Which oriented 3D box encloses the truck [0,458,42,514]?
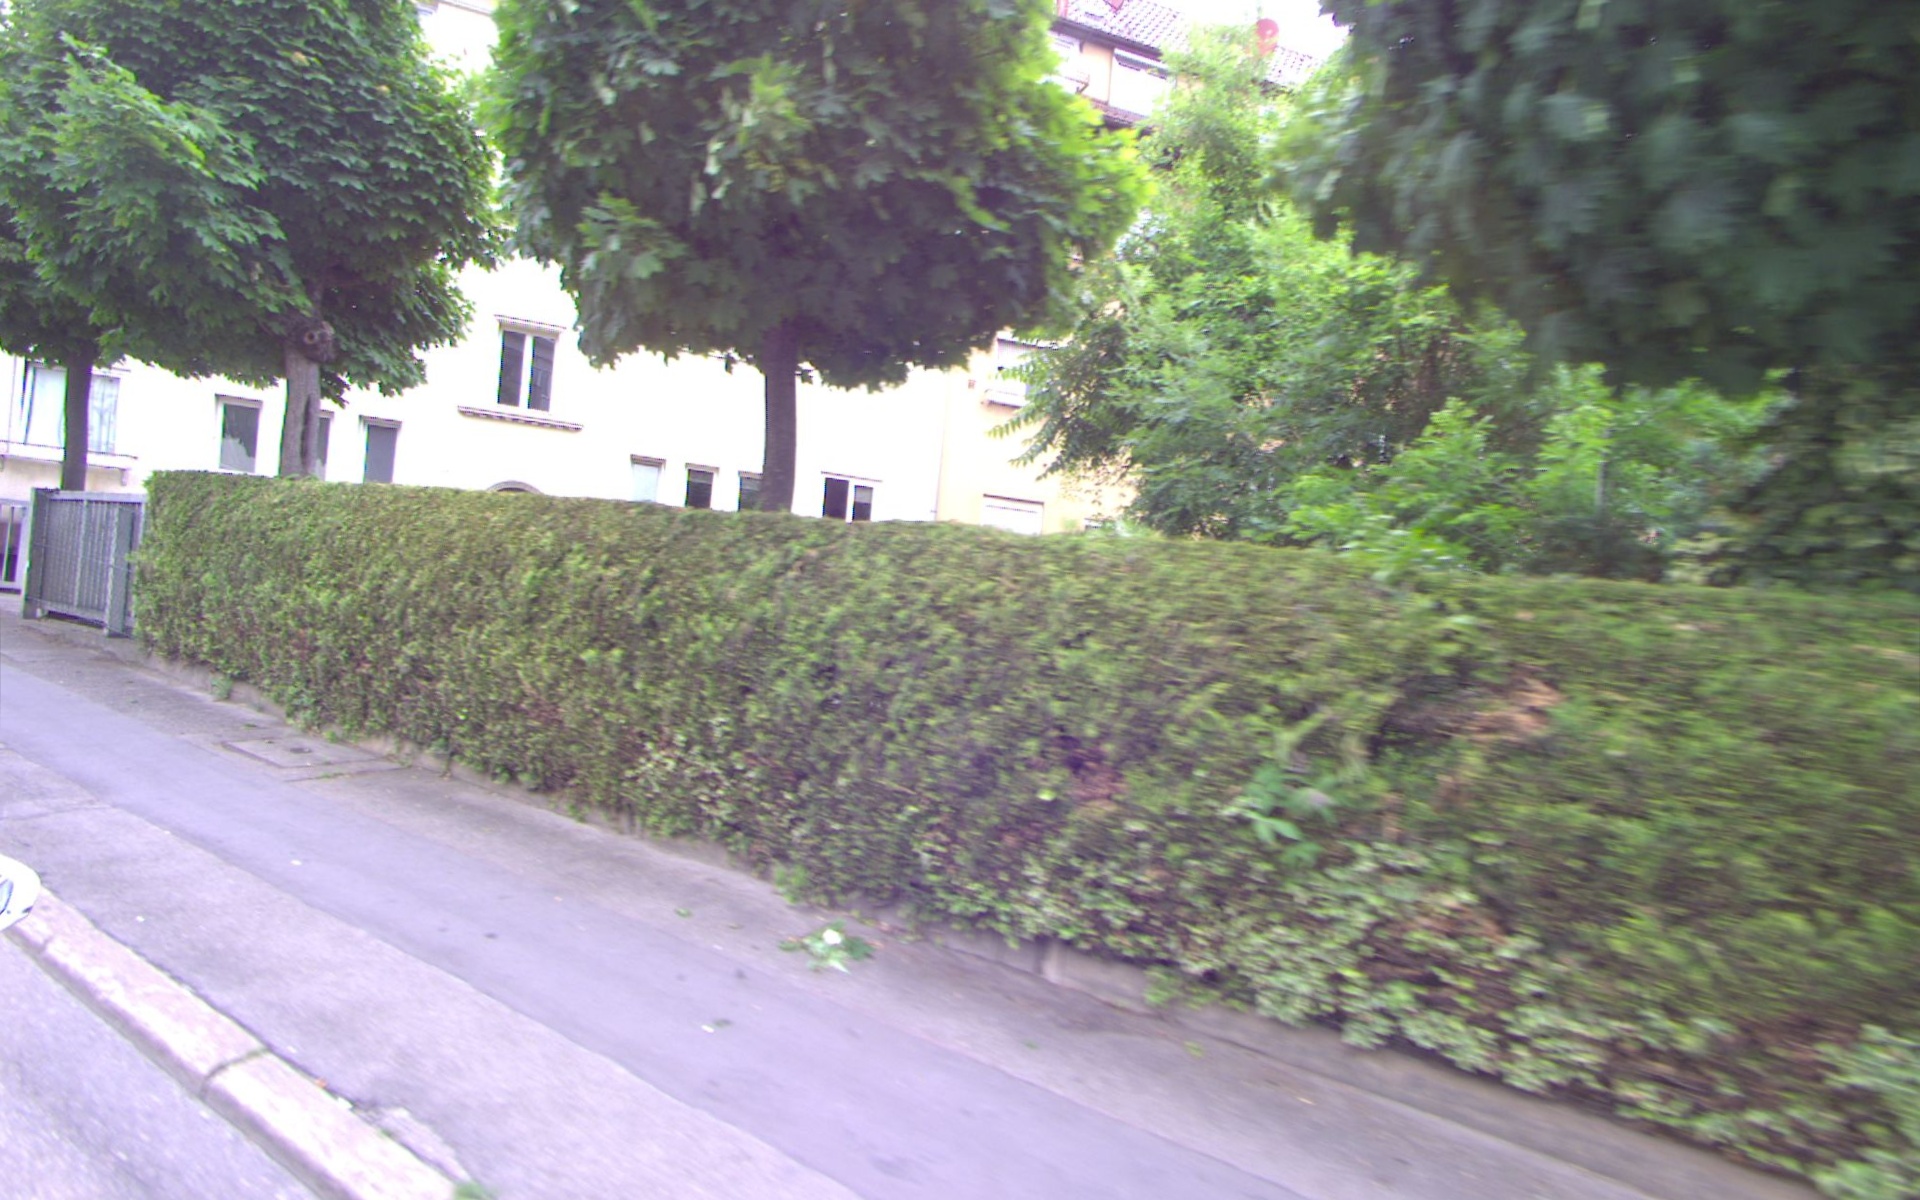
[{"bbox_3d":[-65.518,-7.978,66.599,2.838,3.378,8.772,8,-2,-14],"label":"truck"}]
